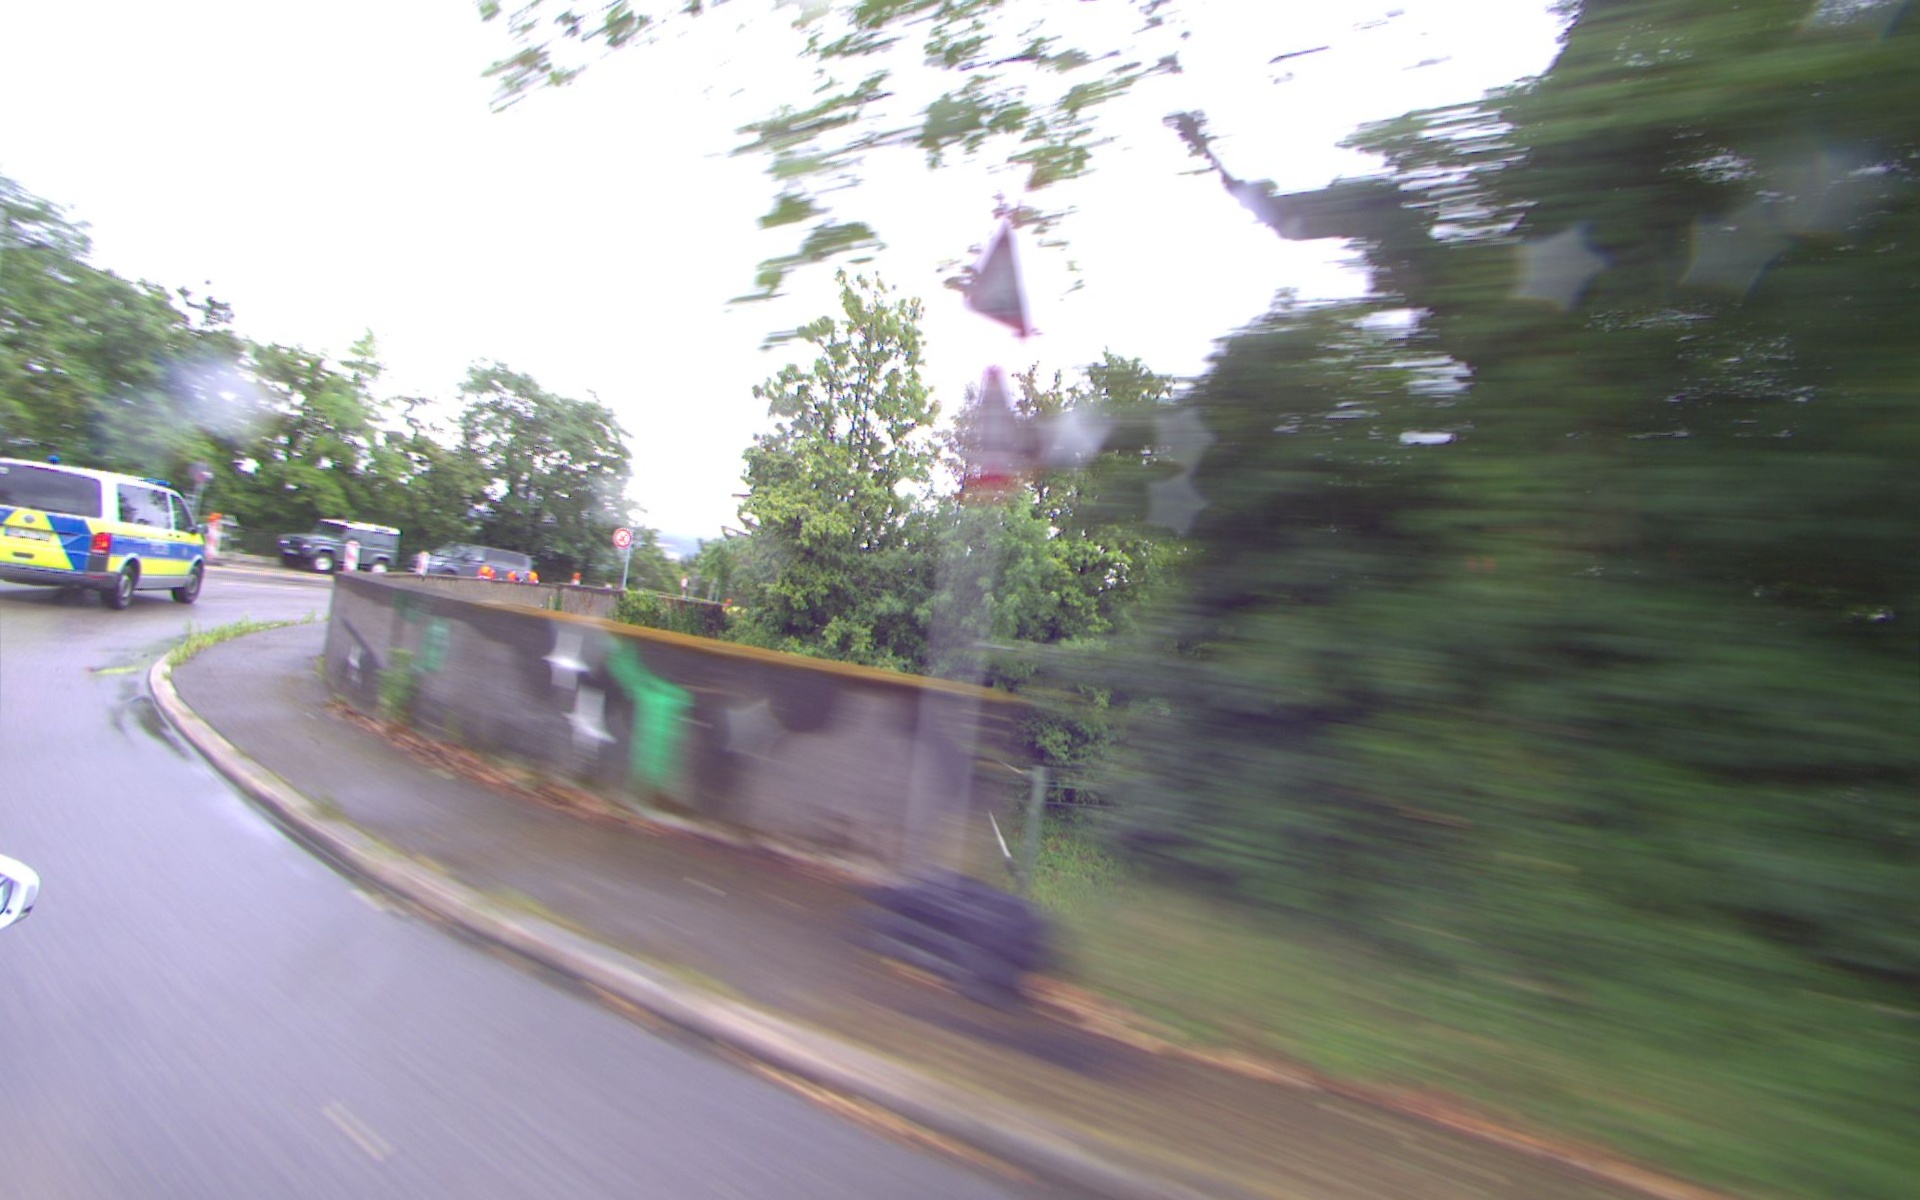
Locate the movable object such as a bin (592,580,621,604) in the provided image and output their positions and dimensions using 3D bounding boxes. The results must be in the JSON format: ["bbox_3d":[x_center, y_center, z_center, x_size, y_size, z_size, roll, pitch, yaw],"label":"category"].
[{"bbox_3d":[-18.912,-0.424,53.786,1.021,1.119,0.978,9,-1,-41],"label":"movable object such as a bin"}]

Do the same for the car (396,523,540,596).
[{"bbox_3d":[-20.603,-1.650,42.371,1.966,2.036,4.946,10,-2,31],"label":"car"}]

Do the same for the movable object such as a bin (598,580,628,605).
[{"bbox_3d":[-18.273,-0.389,52.960,1.022,1.118,0.978,12,-3,-41],"label":"movable object such as a bin"}]

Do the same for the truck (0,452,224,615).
[{"bbox_3d":[-13.657,-0.985,15.840,1.974,2.037,4.712,8,-2,-22],"label":"truck"}]

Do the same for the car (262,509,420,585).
[{"bbox_3d":[-22.904,-1.897,37.482,1.836,2.036,4.819,10,-1,15],"label":"car"}]
